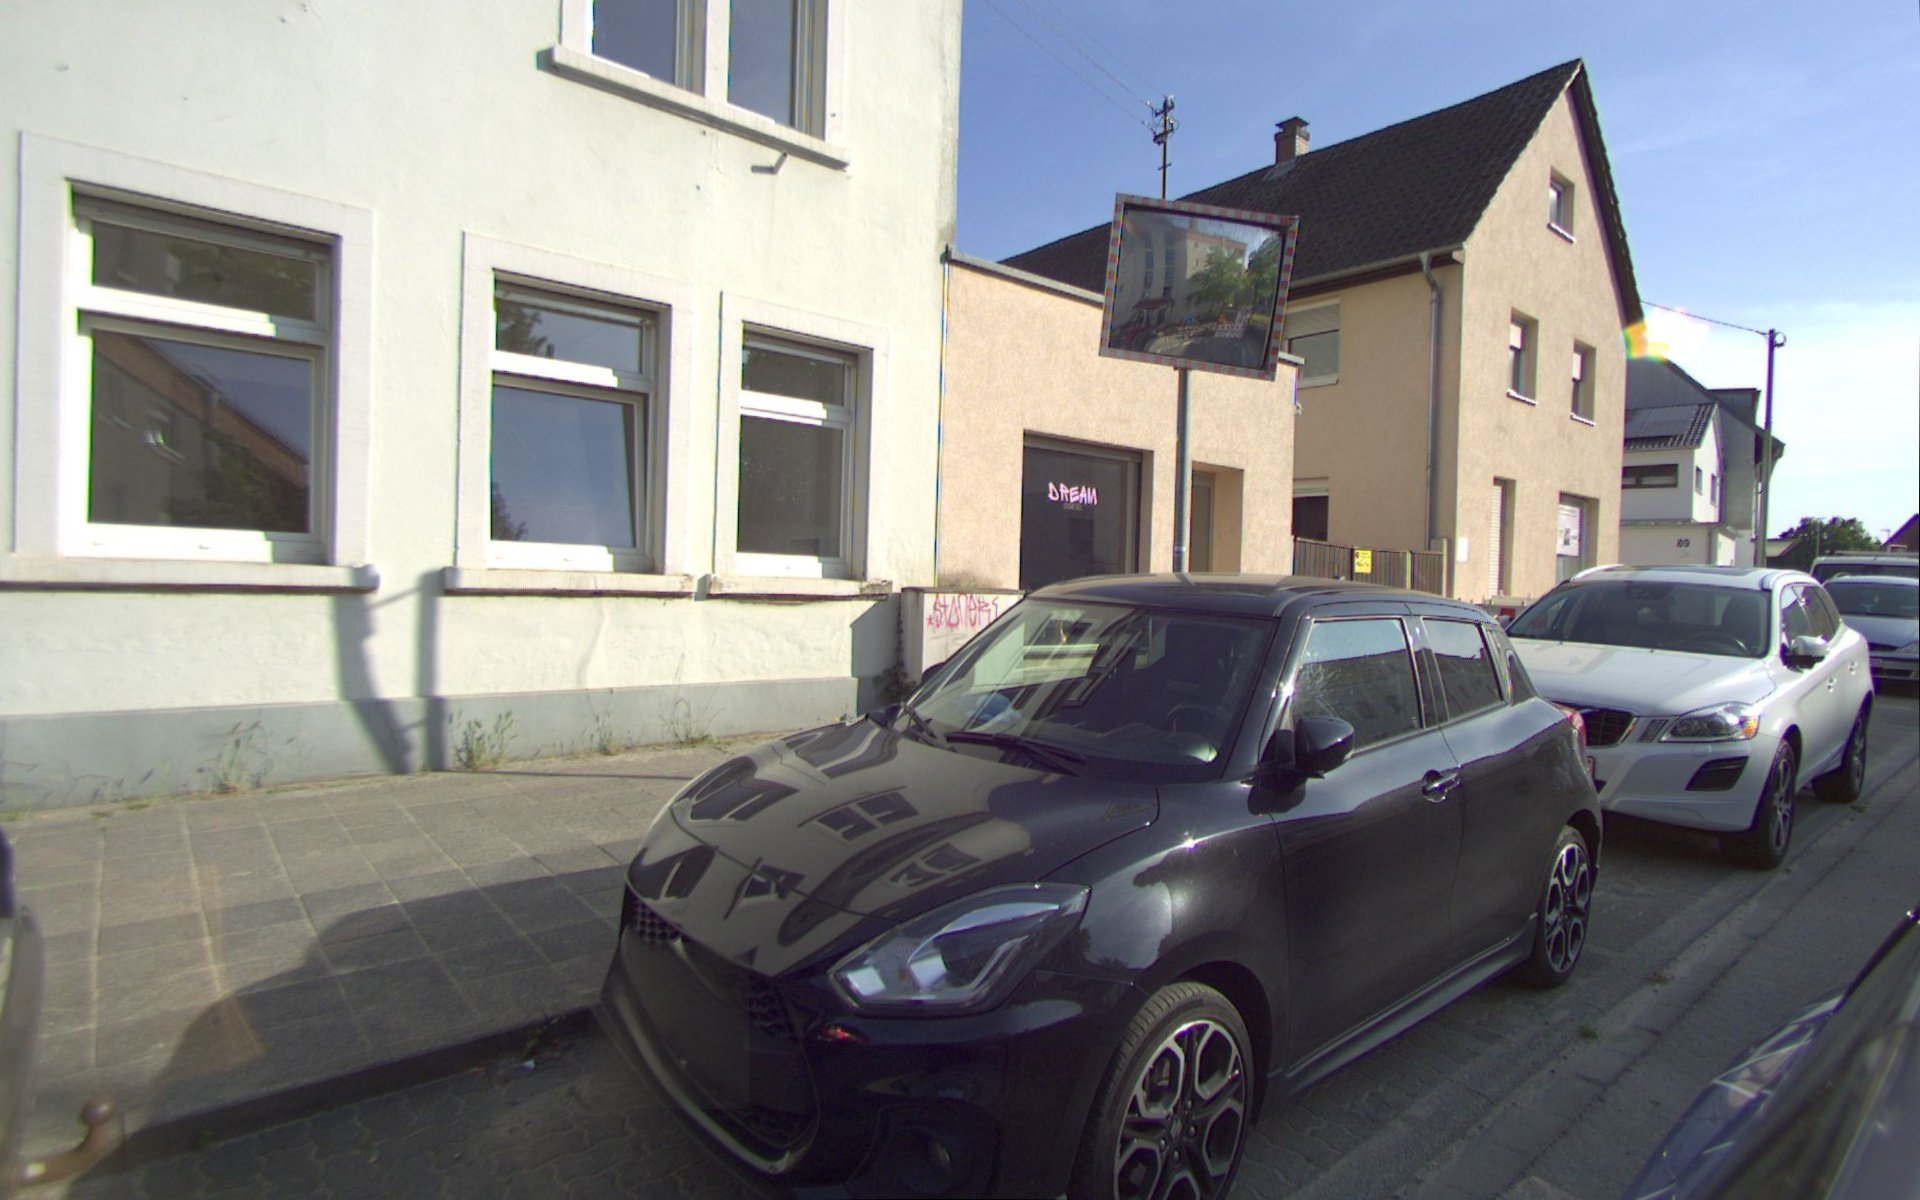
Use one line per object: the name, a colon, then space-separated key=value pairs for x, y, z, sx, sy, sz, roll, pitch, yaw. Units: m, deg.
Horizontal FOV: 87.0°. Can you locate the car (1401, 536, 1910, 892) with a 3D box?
car: x=4.984 y=0.497 z=6.983 sx=4.399 sy=1.704 sz=1.816 roll=0 pitch=3 yaw=-41

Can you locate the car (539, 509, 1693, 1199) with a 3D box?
car: x=1.064 y=0.568 z=3.691 sx=4.533 sy=1.547 sz=1.592 roll=-1 pitch=3 yaw=-41

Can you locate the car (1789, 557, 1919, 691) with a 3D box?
car: x=14.346 y=0.324 z=15.548 sx=4.407 sy=1.762 sz=1.781 roll=0 pitch=4 yaw=-43

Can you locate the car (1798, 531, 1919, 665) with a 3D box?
car: x=18.362 y=-0.051 z=19.952 sx=4.913 sy=2.356 sz=2.177 roll=1 pitch=2 yaw=-44

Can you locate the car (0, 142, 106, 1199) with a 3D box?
car: x=-3.331 y=0.399 z=0.350 sx=4.526 sy=1.879 sz=2.081 roll=1 pitch=2 yaw=-39

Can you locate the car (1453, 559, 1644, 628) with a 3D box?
car: x=13.718 y=-0.166 z=23.620 sx=3.895 sy=1.424 sz=1.666 roll=2 pitch=2 yaw=-19
